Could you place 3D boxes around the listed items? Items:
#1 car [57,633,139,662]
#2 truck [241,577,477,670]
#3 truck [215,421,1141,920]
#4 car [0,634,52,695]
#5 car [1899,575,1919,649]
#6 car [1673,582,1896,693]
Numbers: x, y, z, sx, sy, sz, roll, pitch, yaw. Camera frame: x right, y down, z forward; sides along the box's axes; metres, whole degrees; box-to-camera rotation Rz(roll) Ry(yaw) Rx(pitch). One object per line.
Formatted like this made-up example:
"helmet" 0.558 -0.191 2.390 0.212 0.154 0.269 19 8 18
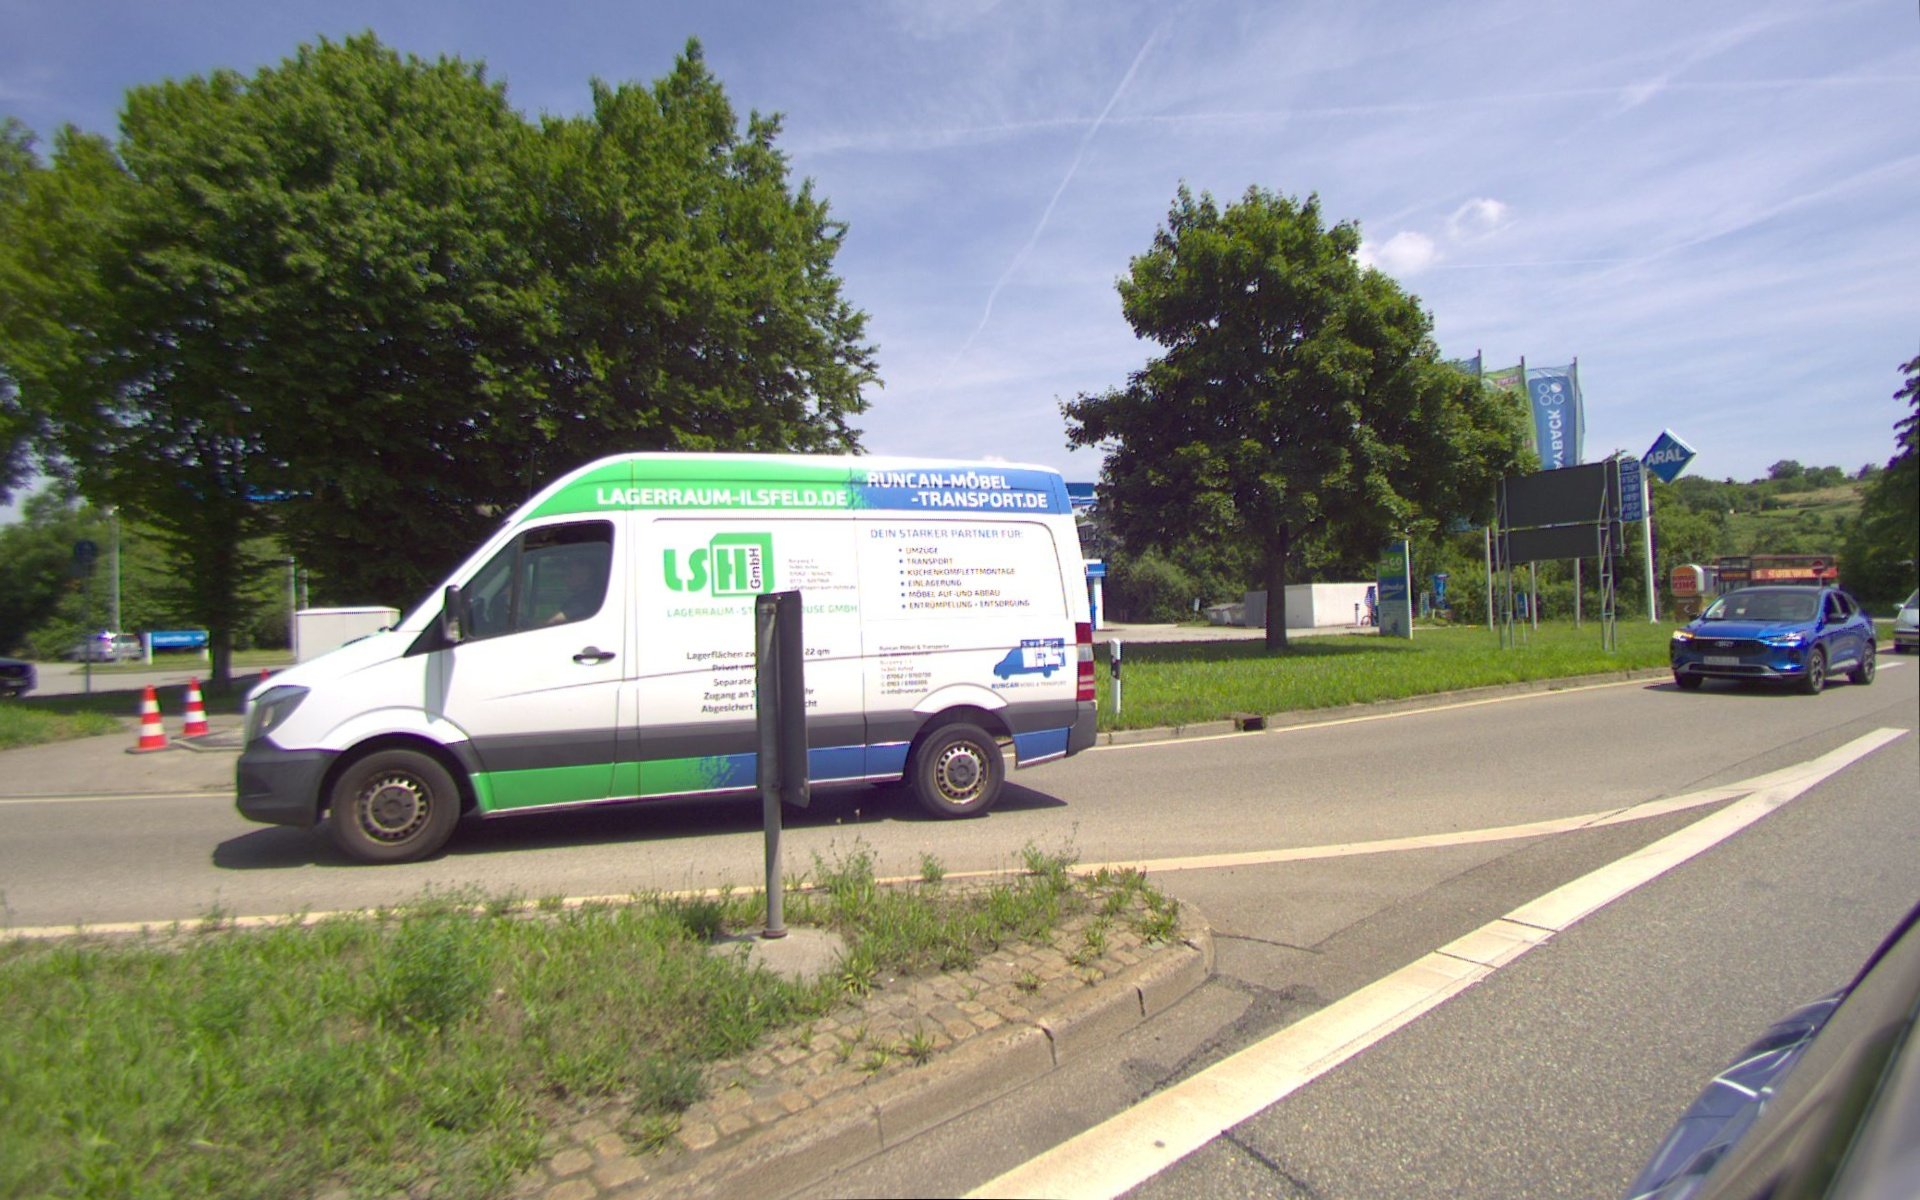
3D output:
"car" -44.786 2.456 52.585 3.795 1.397 1.715 -2 0 22
"truck" -18.750 0.680 31.963 6.020 2.651 2.267 -1 -1 -17
"truck" -1.759 0.331 7.620 5.819 2.772 2.077 -1 -1 -21
"car" -24.799 1.625 24.360 4.237 1.380 1.761 -2 0 -2
"car" 24.759 0.223 24.770 4.444 1.713 1.865 -2 1 -38
"car" 13.661 0.527 16.702 4.306 1.578 1.784 -1 0 -36
